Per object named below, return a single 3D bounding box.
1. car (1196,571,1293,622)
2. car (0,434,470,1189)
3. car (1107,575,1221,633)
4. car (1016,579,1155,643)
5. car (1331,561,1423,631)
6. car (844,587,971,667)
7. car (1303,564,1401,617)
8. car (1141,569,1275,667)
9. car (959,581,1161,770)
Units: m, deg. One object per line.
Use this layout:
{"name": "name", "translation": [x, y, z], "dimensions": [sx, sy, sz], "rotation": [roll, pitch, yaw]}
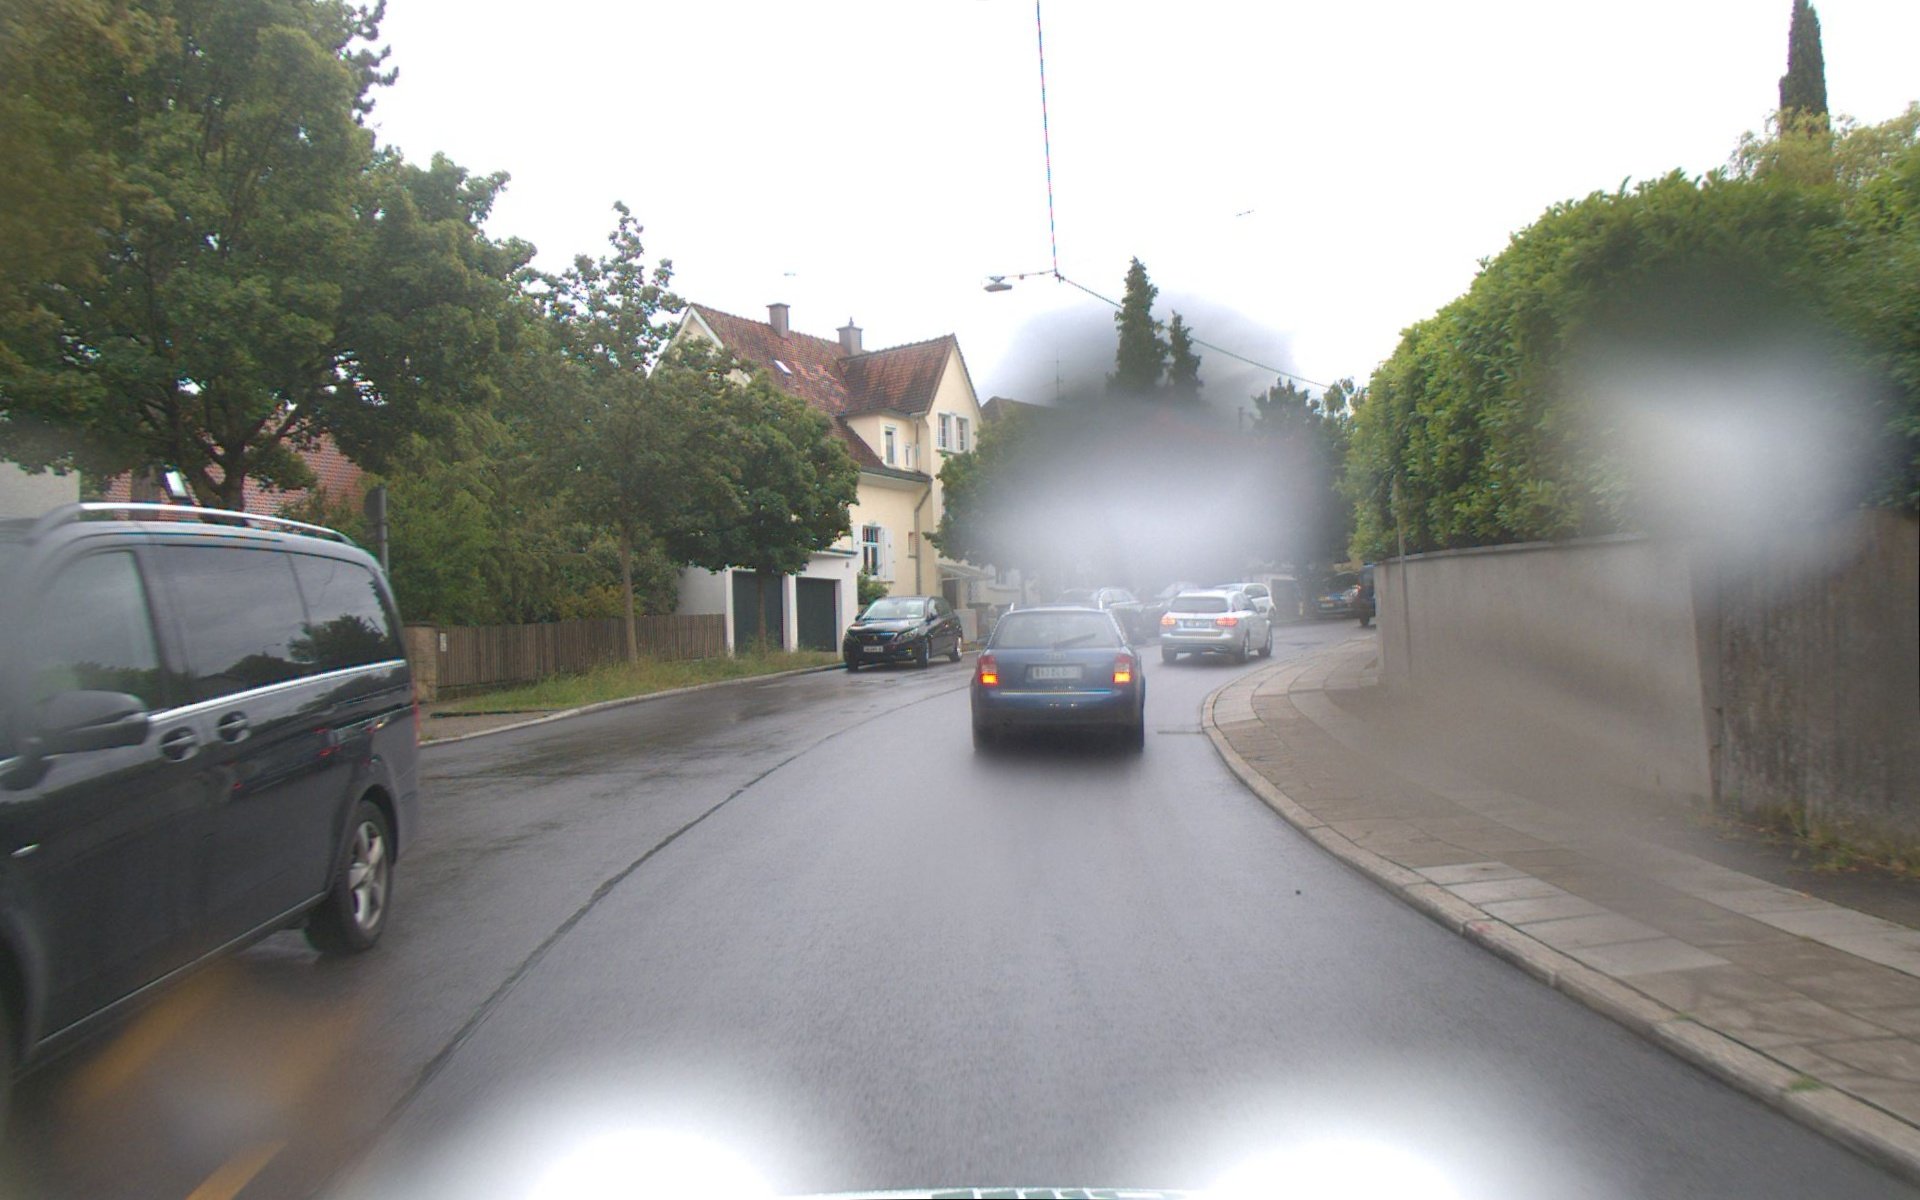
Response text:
{"name": "car", "translation": [9.469, -0.132, 54.841], "dimensions": [1.703, 1.492, 3.989], "rotation": [-3, 1, 33]}
{"name": "car", "translation": [-3.431, 0.575, 5.834], "dimensions": [1.858, 1.922, 5.152], "rotation": [-3, 0, -1]}
{"name": "car", "translation": [6.220, 0.110, 50.091], "dimensions": [1.703, 1.572, 4.198], "rotation": [-3, 0, 33]}
{"name": "car", "translation": [3.553, 0.267, 45.864], "dimensions": [1.832, 1.572, 4.895], "rotation": [-3, 0, 31]}
{"name": "car", "translation": [12.956, -0.143, 51.259], "dimensions": [1.700, 1.799, 4.231], "rotation": [-3, 3, 28]}
{"name": "car", "translation": [-1.056, 0.533, 35.176], "dimensions": [1.634, 1.491, 3.898], "rotation": [-3, 0, 14]}
{"name": "car", "translation": [14.589, -0.378, 61.437], "dimensions": [1.772, 1.697, 4.407], "rotation": [-5, -1, 38]}
{"name": "car", "translation": [5.311, 0.332, 35.027], "dimensions": [1.934, 1.663, 4.238], "rotation": [-3, 3, 20]}
{"name": "car", "translation": [1.161, 0.683, 17.316], "dimensions": [1.697, 1.491, 4.005], "rotation": [-4, 2, 8]}
